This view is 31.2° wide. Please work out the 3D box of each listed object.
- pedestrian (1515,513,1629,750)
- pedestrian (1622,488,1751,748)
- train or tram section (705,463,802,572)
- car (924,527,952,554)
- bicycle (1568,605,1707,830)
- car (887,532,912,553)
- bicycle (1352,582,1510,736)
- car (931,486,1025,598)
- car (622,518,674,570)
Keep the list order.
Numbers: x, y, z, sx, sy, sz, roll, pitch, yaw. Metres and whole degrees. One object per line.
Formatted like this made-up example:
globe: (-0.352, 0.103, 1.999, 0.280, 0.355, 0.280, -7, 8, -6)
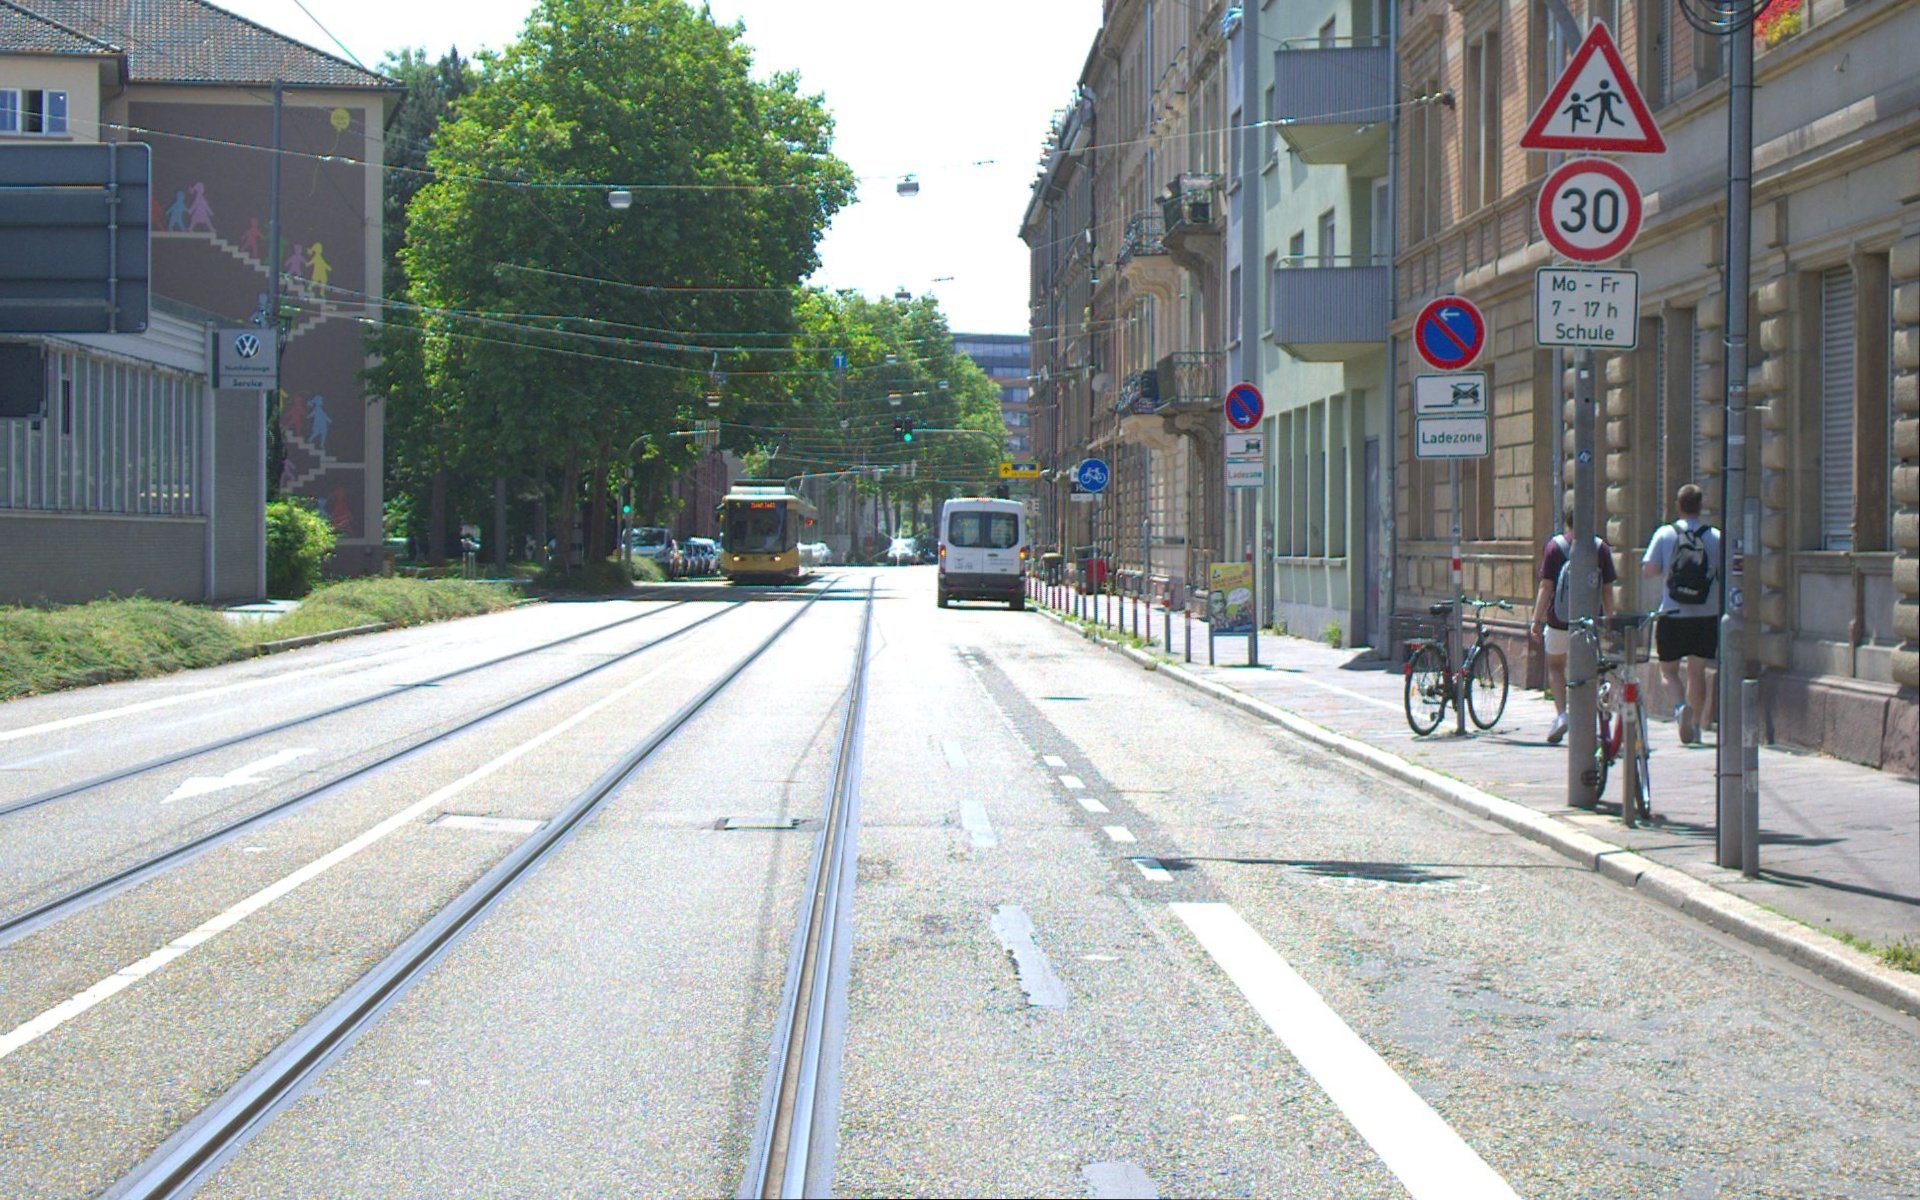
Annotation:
pedestrian: (4.481, 0.223, 25.212, 0.720, 1.714, 0.644, 0, 1, 0)
pedestrian: (5.303, 0.124, 25.129, 0.702, 1.842, 0.644, -4, 1, 0)
train or tram section: (-7.091, -2.844, 119.641, 2.960, 3.568, 13.425, 0, 1, -2)
car: (-1.510, -4.093, 235.662, 1.673, 1.853, 4.001, 1, 1, -4)
bicycle: (3.666, 0.601, 18.720, 0.447, 1.093, 2.422, 0, 1, 4)
car: (-4.014, -3.808, 227.686, 1.528, 1.404, 3.490, 1, 1, -3)
bicycle: (3.723, 0.438, 27.026, 0.499, 1.127, 2.240, 0, 1, 27)
car: (0.398, -1.358, 79.957, 2.067, 2.492, 5.454, 1, 1, 0)
car: (-11.841, -2.125, 130.630, 1.800, 1.916, 4.001, 1, 1, -3)
